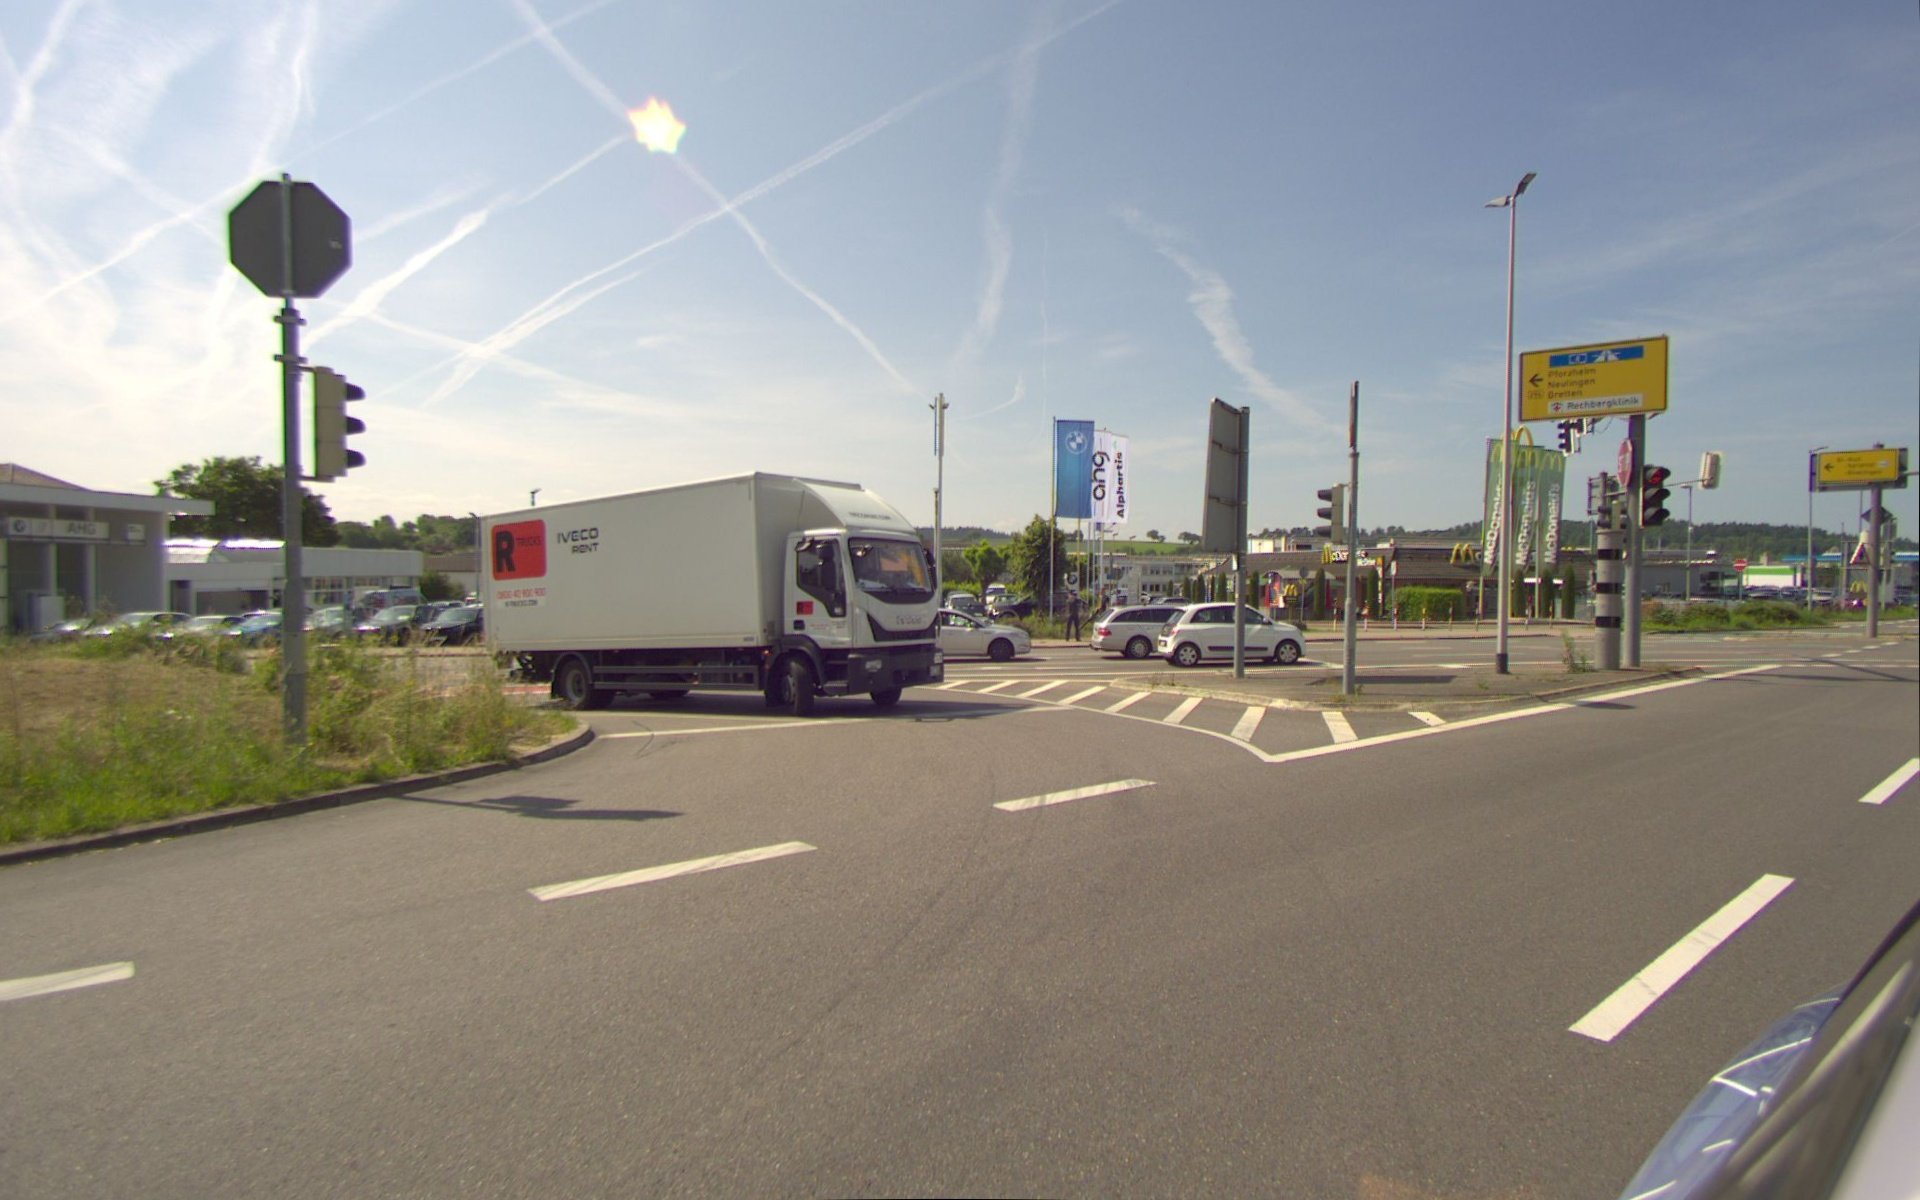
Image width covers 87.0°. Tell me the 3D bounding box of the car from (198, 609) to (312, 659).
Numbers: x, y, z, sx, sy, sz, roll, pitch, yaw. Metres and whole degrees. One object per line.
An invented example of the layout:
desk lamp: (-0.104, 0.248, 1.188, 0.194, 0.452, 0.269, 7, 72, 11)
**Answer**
car: (-26.865, 1.251, 38.739, 1.959, 1.571, 4.007, 1, 2, -7)

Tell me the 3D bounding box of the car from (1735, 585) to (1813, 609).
car: (57.867, -0.216, 71.987, 4.180, 1.510, 1.751, 1, 2, -3)

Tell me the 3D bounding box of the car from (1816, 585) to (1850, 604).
car: (82.990, -0.533, 96.192, 4.630, 1.674, 1.905, -1, 3, -43)

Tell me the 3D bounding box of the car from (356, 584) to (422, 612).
car: (-37.184, -0.157, 66.014, 1.970, 1.637, 4.192, 1, 2, -1)

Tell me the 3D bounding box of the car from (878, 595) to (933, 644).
car: (-2.094, 0.715, 39.265, 1.961, 1.593, 4.004, 1, 2, -2)

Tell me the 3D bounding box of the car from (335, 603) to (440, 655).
car: (-21.828, 1.064, 38.785, 2.061, 1.637, 4.089, 1, 2, -7)

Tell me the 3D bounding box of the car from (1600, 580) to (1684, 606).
car: (49.326, -0.486, 73.250, 4.723, 1.691, 1.914, 1, 2, -3)

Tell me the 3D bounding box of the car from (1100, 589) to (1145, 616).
car: (10.582, 0.116, 66.304, 1.961, 1.538, 4.454, 1, 2, -3)

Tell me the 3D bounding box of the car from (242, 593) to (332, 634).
car: (-31.201, 0.595, 47.082, 1.967, 1.637, 4.090, 1, 2, -9)

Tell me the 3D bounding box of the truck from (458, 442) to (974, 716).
truck: (-4.595, -0.088, 17.411, 9.630, 3.674, 2.735, -3, -1, 34)

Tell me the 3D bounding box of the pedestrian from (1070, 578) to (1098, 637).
pedestrian: (4.400, 0.254, 35.832, 0.861, 2.039, 0.665, 0, 1, -3)

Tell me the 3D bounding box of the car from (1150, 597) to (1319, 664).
car: (6.759, 0.732, 25.167, 3.684, 1.523, 1.711, -1, 0, 0)

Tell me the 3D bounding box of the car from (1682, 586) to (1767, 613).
car: (50.056, -0.049, 66.315, 4.150, 1.595, 1.863, 1, 2, -3)

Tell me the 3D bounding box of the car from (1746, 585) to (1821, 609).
car: (63.194, -0.261, 77.695, 3.942, 1.691, 1.913, 2, 2, 15)

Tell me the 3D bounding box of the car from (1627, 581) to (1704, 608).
car: (48.951, -0.369, 70.292, 4.088, 1.691, 1.778, 1, 2, -3)

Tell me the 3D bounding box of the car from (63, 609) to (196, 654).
car: (-31.567, 1.150, 38.635, 1.961, 1.389, 4.004, 1, 2, -3)

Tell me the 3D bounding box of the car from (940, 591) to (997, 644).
car: (0.285, 0.631, 39.342, 1.961, 1.744, 4.004, 1, 2, -2)

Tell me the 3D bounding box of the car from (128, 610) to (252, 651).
car: (-29.244, 1.128, 38.595, 1.960, 1.203, 4.006, 1, 2, -5)

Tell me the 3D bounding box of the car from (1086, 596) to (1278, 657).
car: (6.145, 0.717, 28.429, 4.905, 1.524, 2.000, -1, 0, 1)

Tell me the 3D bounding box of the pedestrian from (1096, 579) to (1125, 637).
pedestrian: (5.337, 0.276, 35.866, 0.861, 2.039, 0.665, 0, 1, -3)

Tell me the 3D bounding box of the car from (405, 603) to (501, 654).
car: (-19.377, 1.040, 38.877, 2.049, 1.637, 4.007, 1, 2, -6)

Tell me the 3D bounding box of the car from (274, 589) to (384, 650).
car: (-24.105, 0.697, 38.837, 2.027, 2.060, 4.088, 1, 2, -6)

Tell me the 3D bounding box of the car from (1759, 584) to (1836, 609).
car: (62.375, -0.265, 75.448, 3.982, 1.691, 1.762, 3, 2, 24)
